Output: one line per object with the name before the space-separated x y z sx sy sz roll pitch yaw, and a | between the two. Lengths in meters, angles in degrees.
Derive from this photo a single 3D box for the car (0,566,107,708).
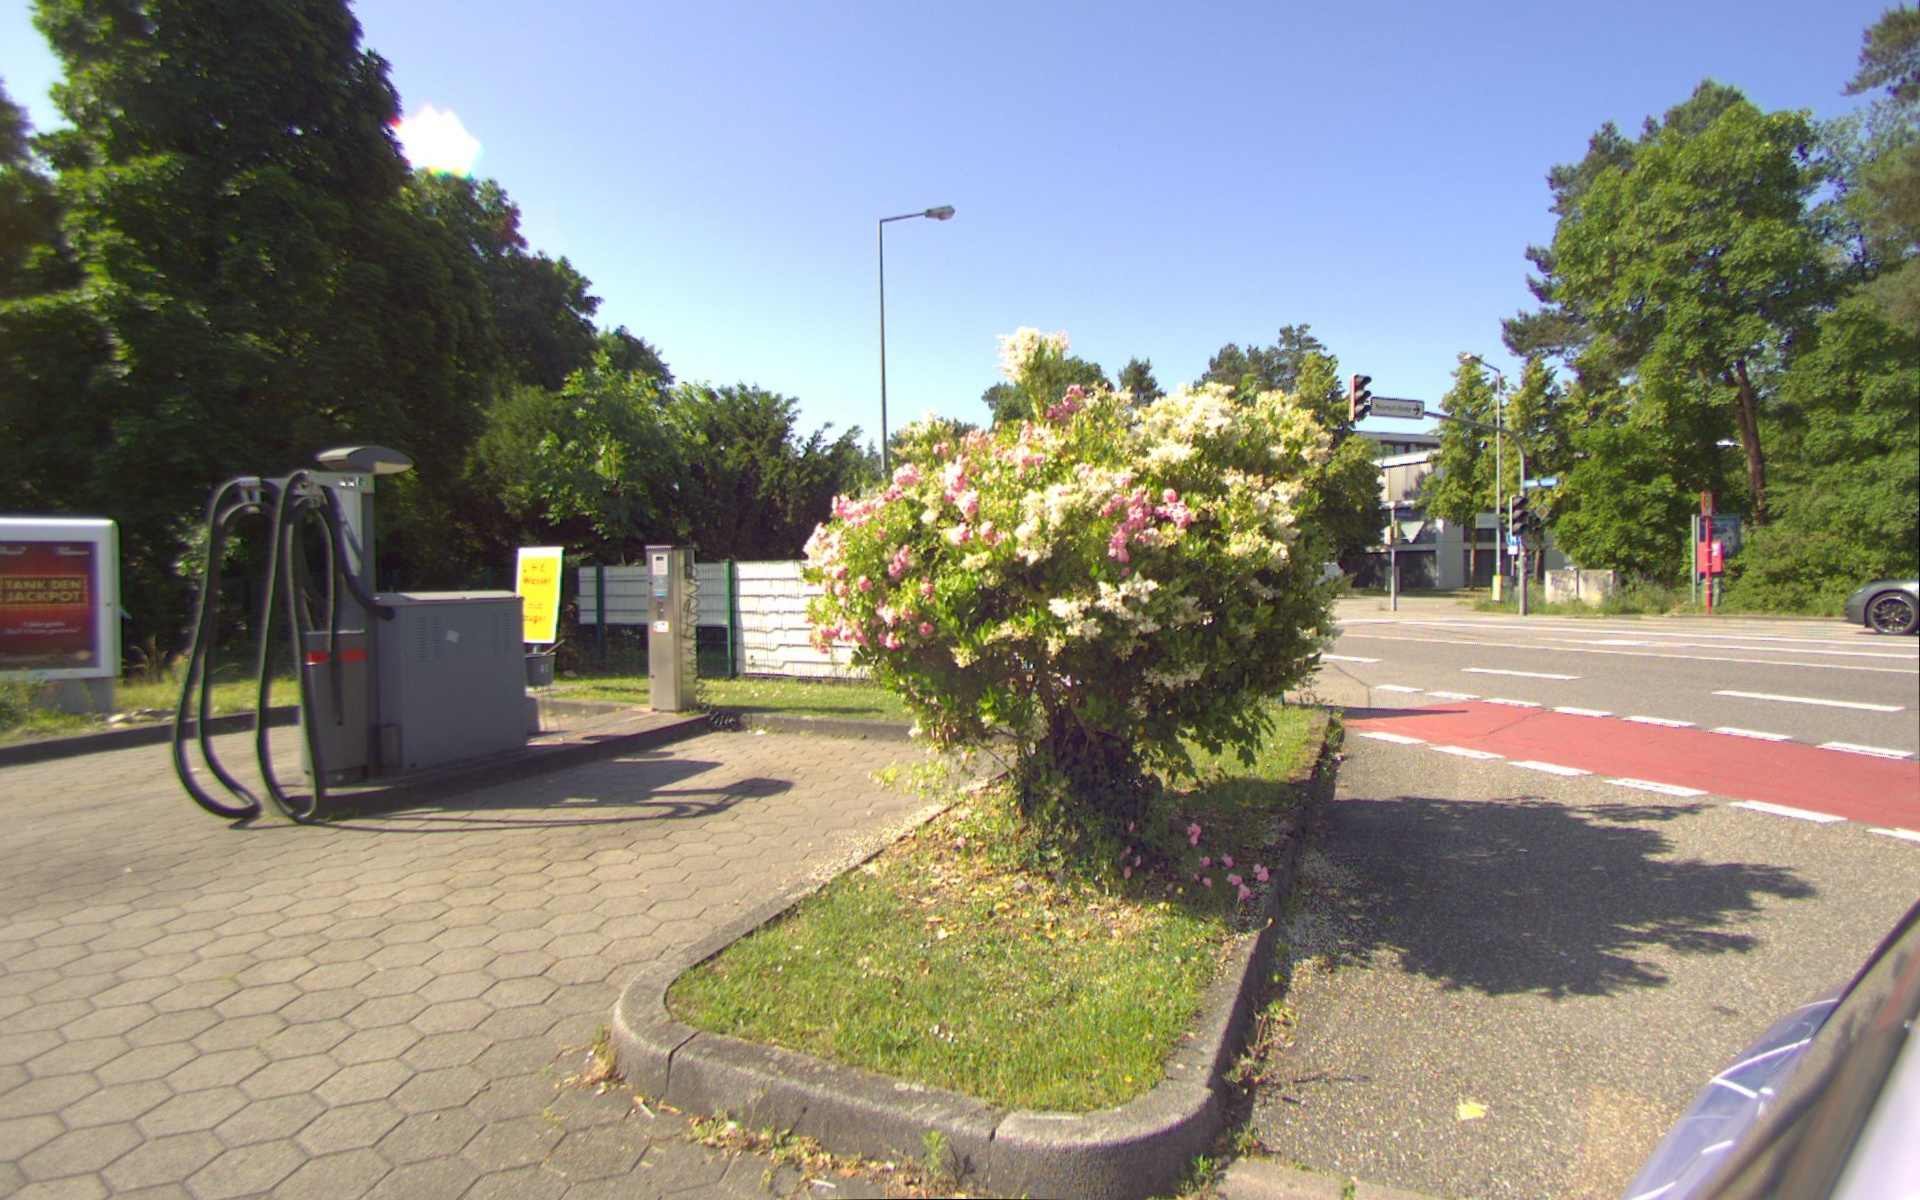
car | -11.679 0.394 11.809 1.649 1.530 3.947 -2 2 -25

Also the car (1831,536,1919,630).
car | 16.784 -0.236 15.495 1.814 1.514 4.922 0 1 -23

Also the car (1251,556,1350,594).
car | 16.979 -1.254 50.472 4.564 1.800 1.856 -1 1 -23
